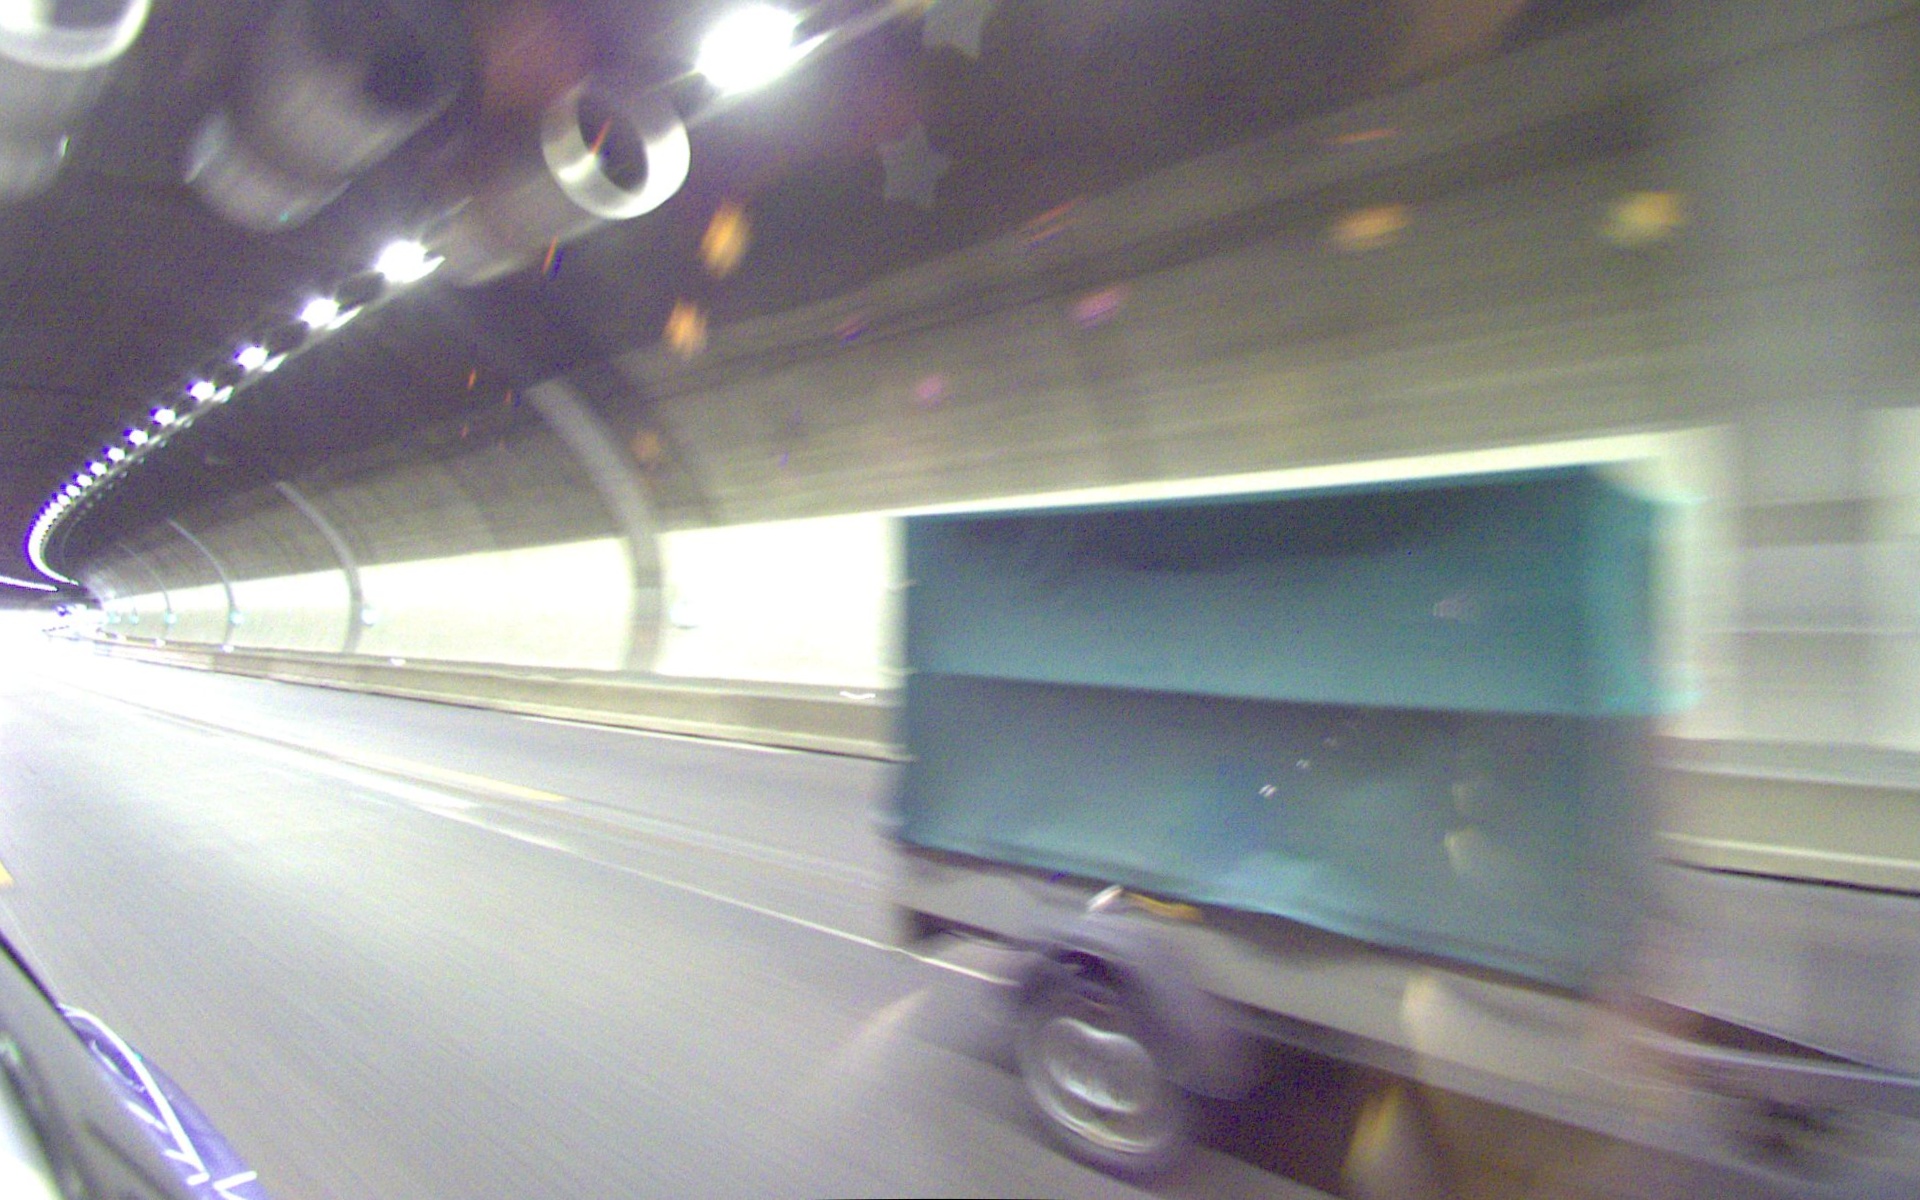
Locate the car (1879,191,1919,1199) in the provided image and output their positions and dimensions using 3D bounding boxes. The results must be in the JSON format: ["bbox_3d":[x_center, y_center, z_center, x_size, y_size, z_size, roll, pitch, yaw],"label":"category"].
[{"bbox_3d":[3.962,0.361,0.254,5.451,1.909,1.972,-1,-1,42],"label":"car"}]
